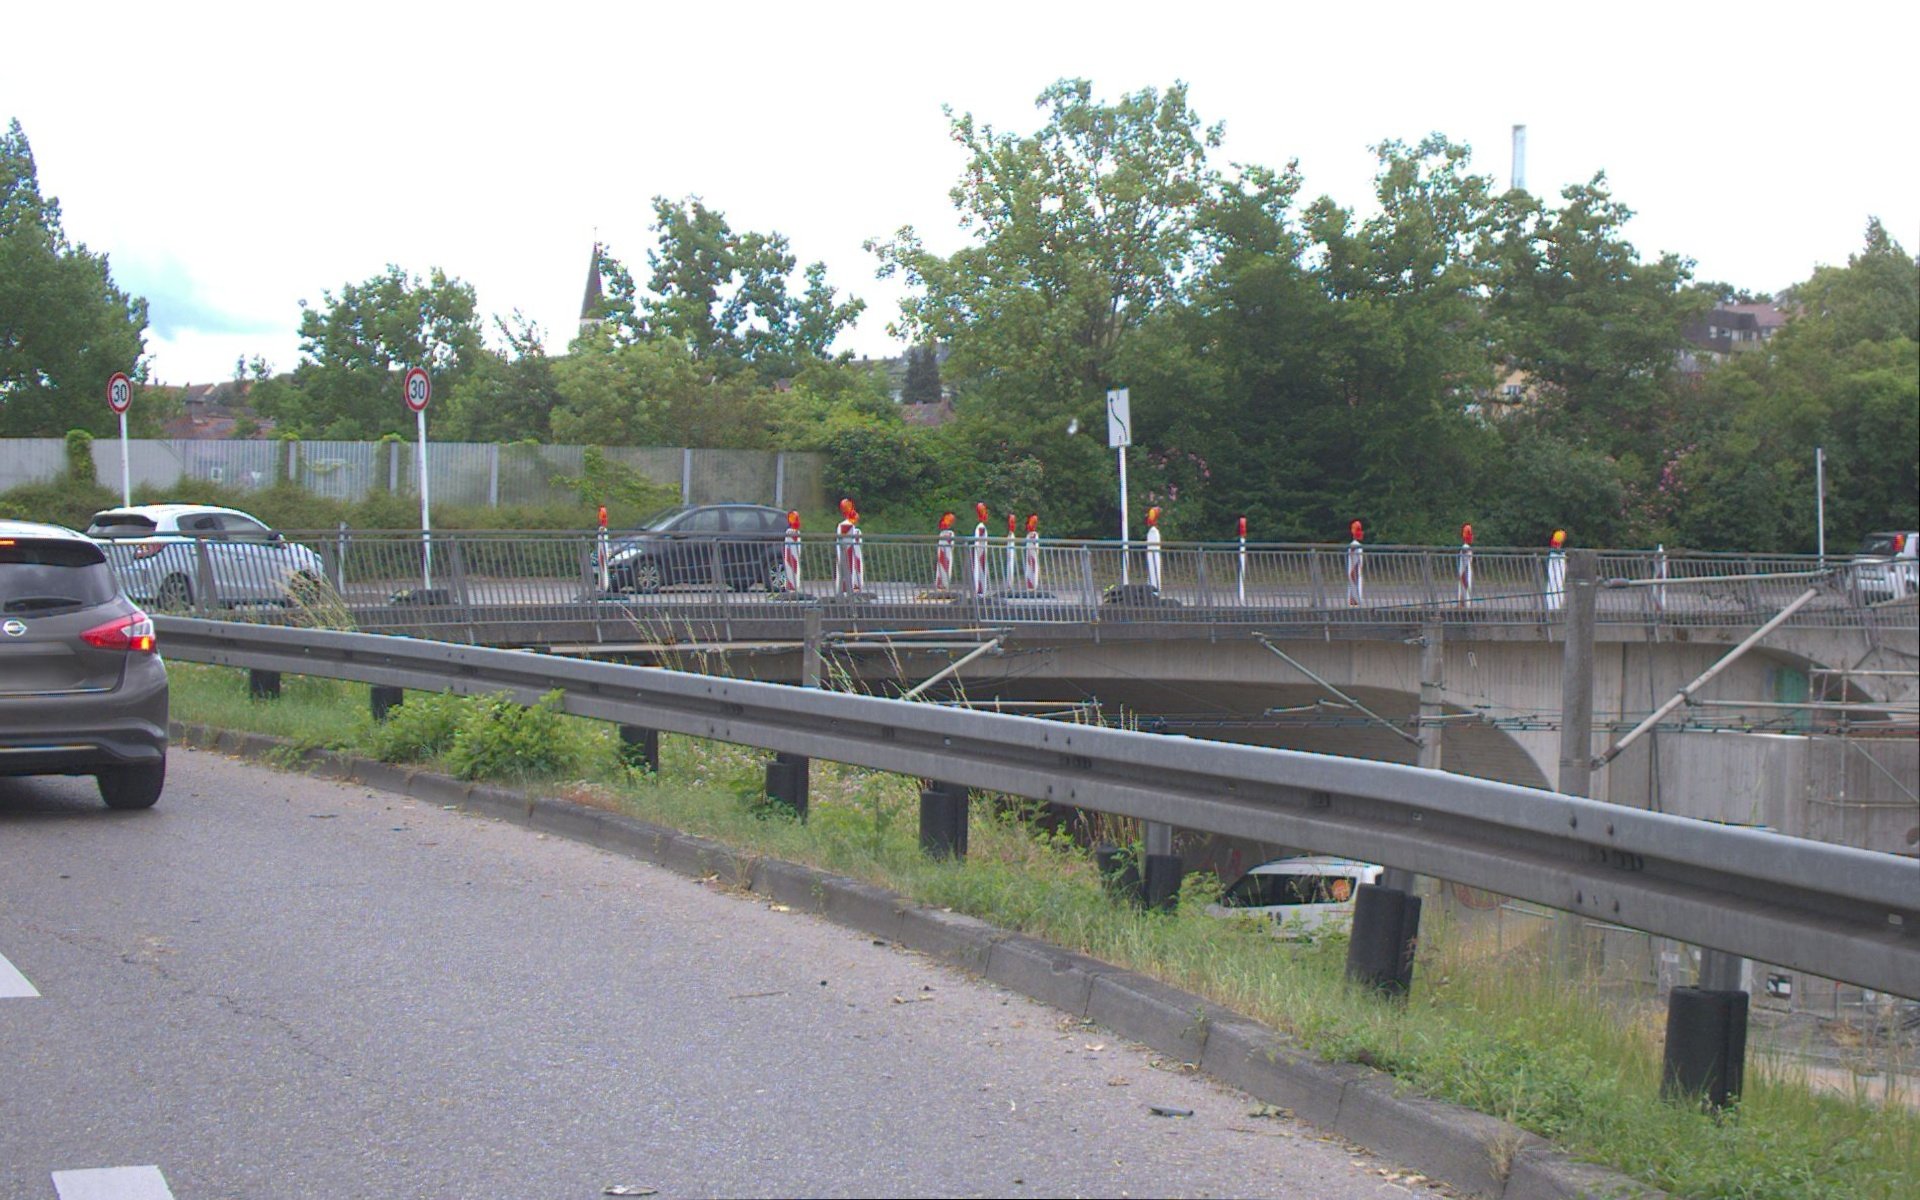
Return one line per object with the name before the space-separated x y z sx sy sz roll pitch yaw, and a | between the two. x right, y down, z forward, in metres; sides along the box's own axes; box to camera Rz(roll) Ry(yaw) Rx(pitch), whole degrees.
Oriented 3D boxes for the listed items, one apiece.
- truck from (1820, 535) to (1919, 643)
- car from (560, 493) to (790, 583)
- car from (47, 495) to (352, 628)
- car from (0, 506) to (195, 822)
truck | 18.820 -0.170 67.581 3.216 2.007 1.741 3 0 -25
car | -5.123 -1.099 61.783 3.775 1.547 1.643 0 -1 -27
car | -10.129 -0.491 46.046 1.714 1.669 3.993 1 0 30
car | -5.617 0.270 18.628 1.797 1.547 4.000 -1 1 -29
